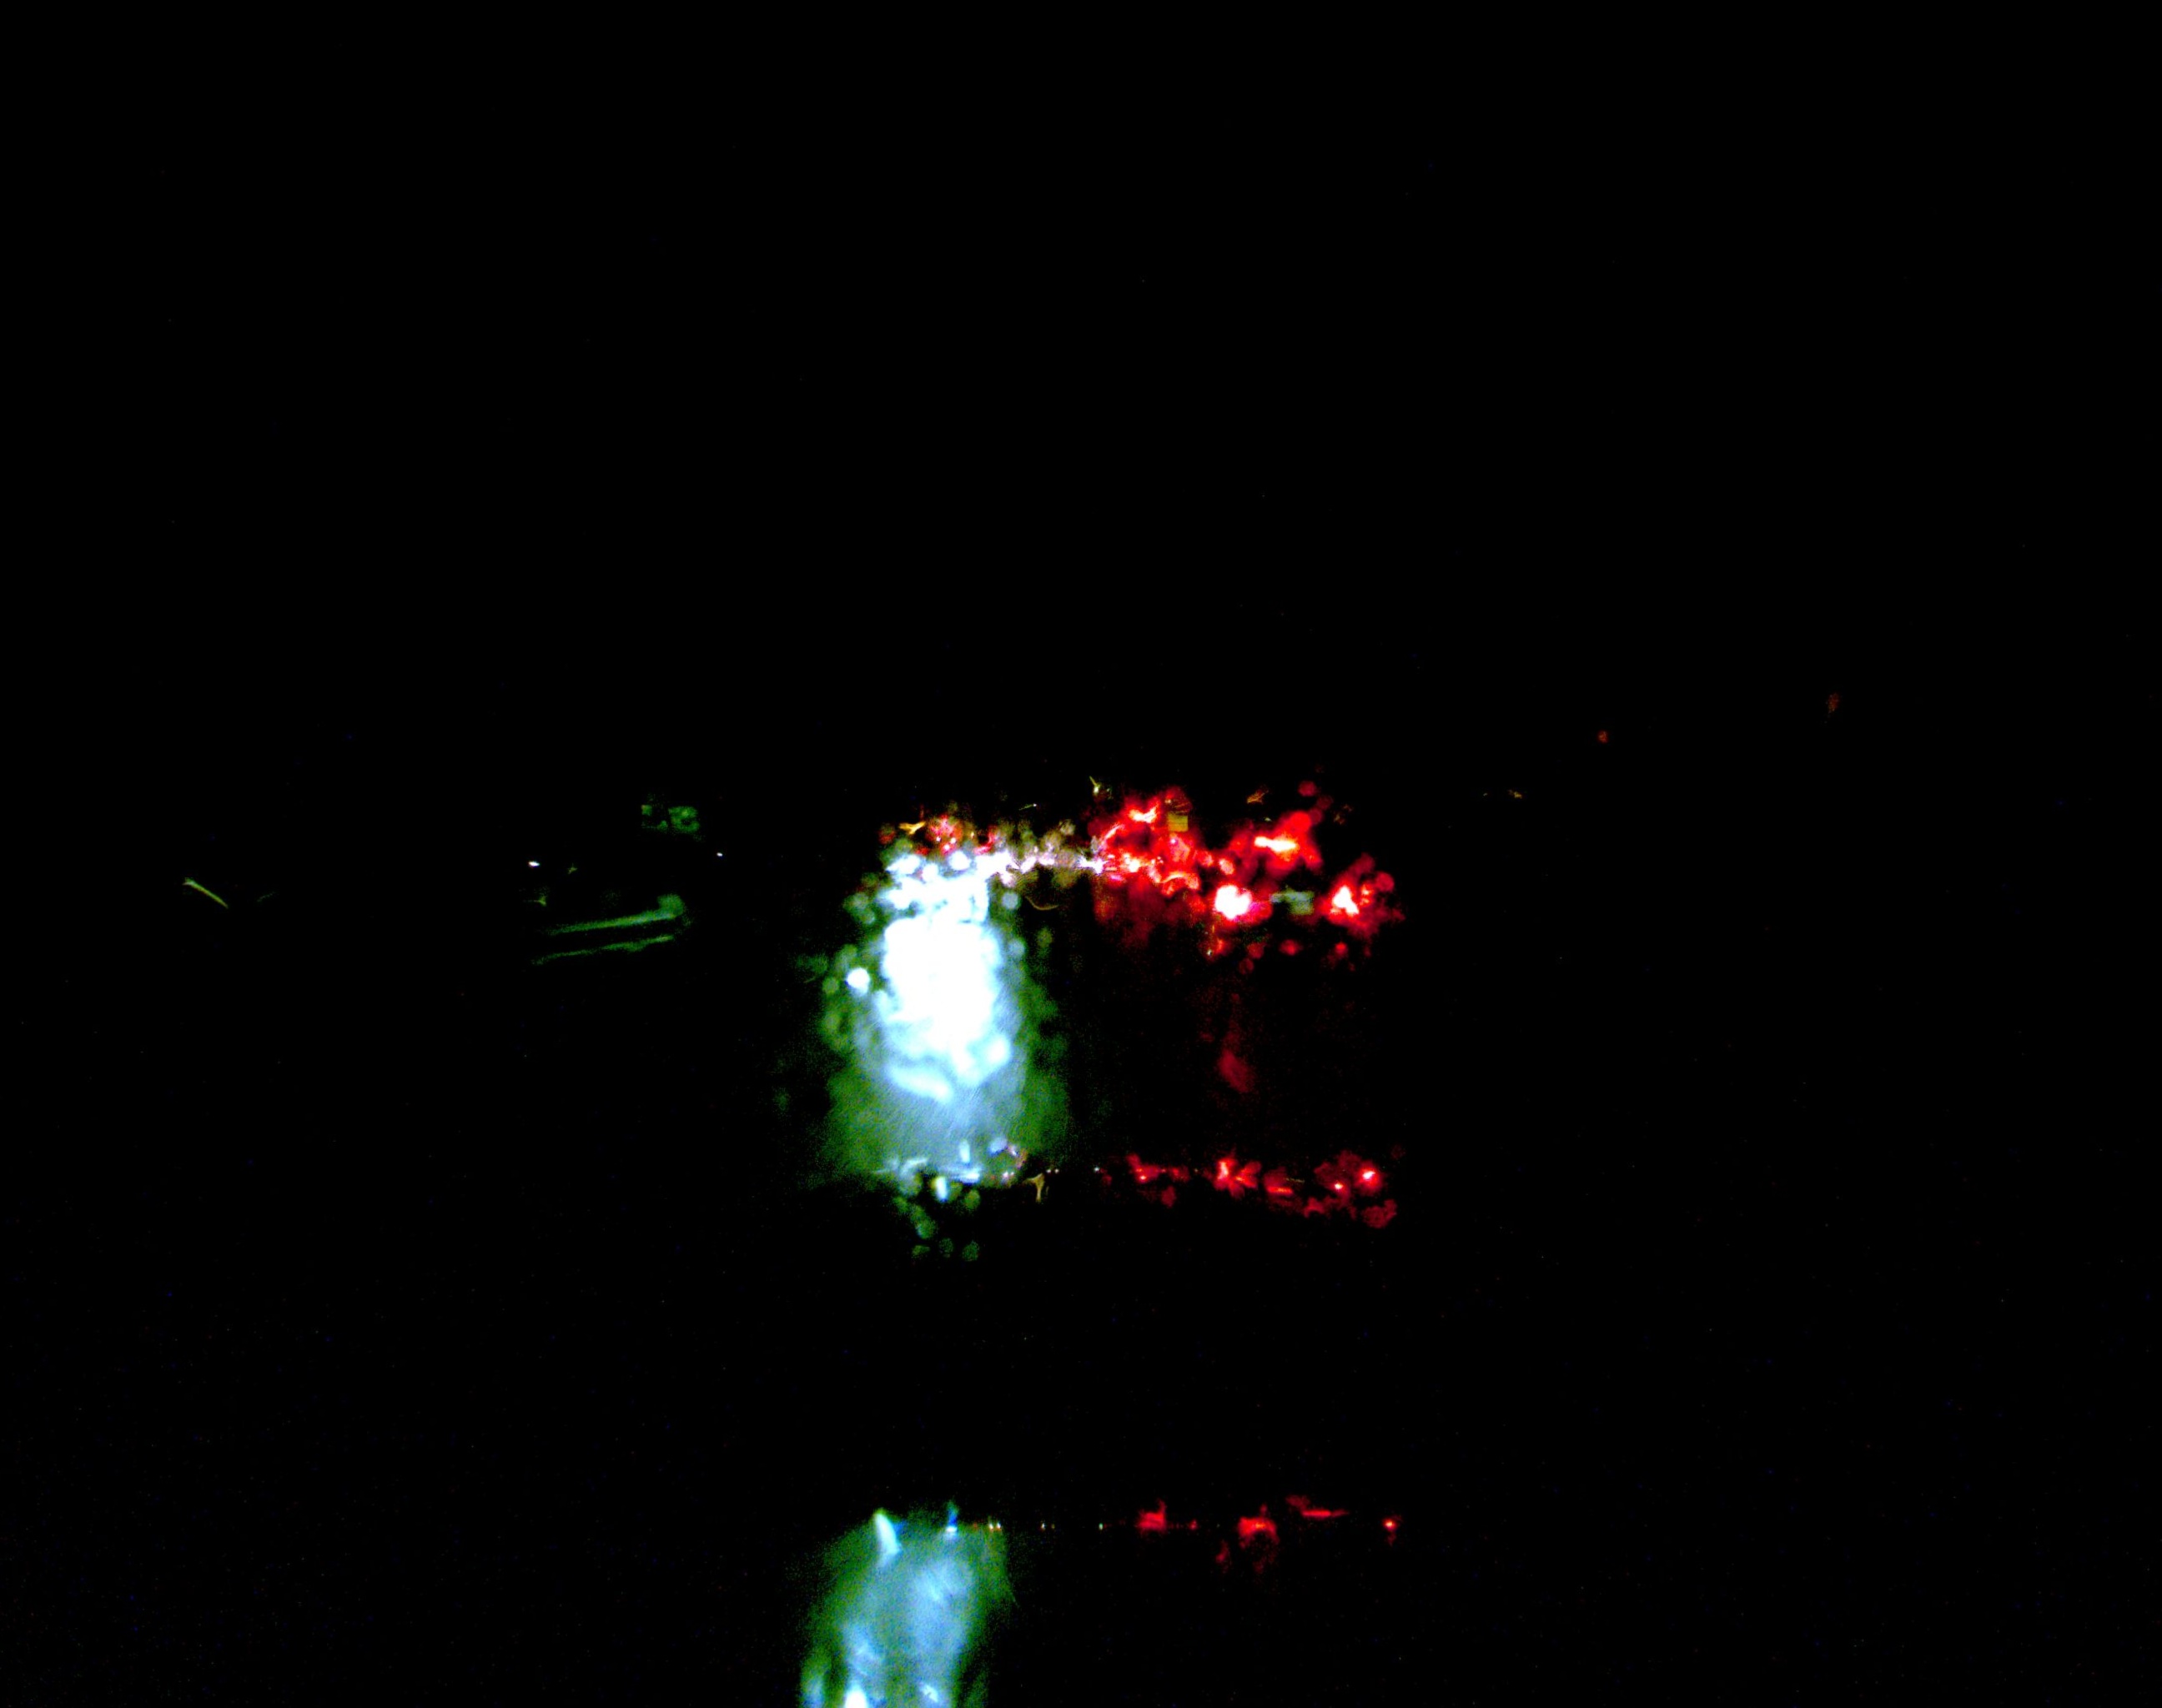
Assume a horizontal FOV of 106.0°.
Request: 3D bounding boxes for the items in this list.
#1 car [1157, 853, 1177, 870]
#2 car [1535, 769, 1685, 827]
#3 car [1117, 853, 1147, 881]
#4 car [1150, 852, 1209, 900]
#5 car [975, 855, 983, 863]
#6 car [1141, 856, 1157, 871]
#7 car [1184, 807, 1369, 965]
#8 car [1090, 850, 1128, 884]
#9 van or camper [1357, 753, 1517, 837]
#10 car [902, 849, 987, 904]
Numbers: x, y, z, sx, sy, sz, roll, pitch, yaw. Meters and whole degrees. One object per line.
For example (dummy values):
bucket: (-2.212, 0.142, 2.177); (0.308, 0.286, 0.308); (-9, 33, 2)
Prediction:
car: (7.632, 0.662, 72.069); (1.654, 1.450, 4.058); (-1, -1, 7)
car: (17.032, -1.743, 26.456); (1.637, 1.618, 4.116); (-1, 0, -13)
car: (3.314, 0.809, 52.438); (1.700, 1.638, 3.736); (-2, 0, 6)
car: (3.271, 0.680, 27.167); (1.759, 1.450, 4.226); (-1, 0, 6)
car: (-25.502, 1.297, 203.454); (1.991, 1.912, 4.733); (-1, 0, -6)
car: (7.180, 1.008, 85.595); (1.655, 1.450, 4.055); (-1, -1, 5)
car: (2.732, 0.395, 12.364); (1.935, 1.972, 4.220); (-1, 0, 2)
car: (1.430, 0.639, 40.423); (1.686, 1.630, 3.858); (0, -1, 5)
van or camper: (14.241, -2.265, 33.177); (2.584, 2.908, 6.327); (-1, 0, -14)
car: (-3.781, 0.570, 23.261); (1.689, 1.434, 4.292); (0, 0, 0)
